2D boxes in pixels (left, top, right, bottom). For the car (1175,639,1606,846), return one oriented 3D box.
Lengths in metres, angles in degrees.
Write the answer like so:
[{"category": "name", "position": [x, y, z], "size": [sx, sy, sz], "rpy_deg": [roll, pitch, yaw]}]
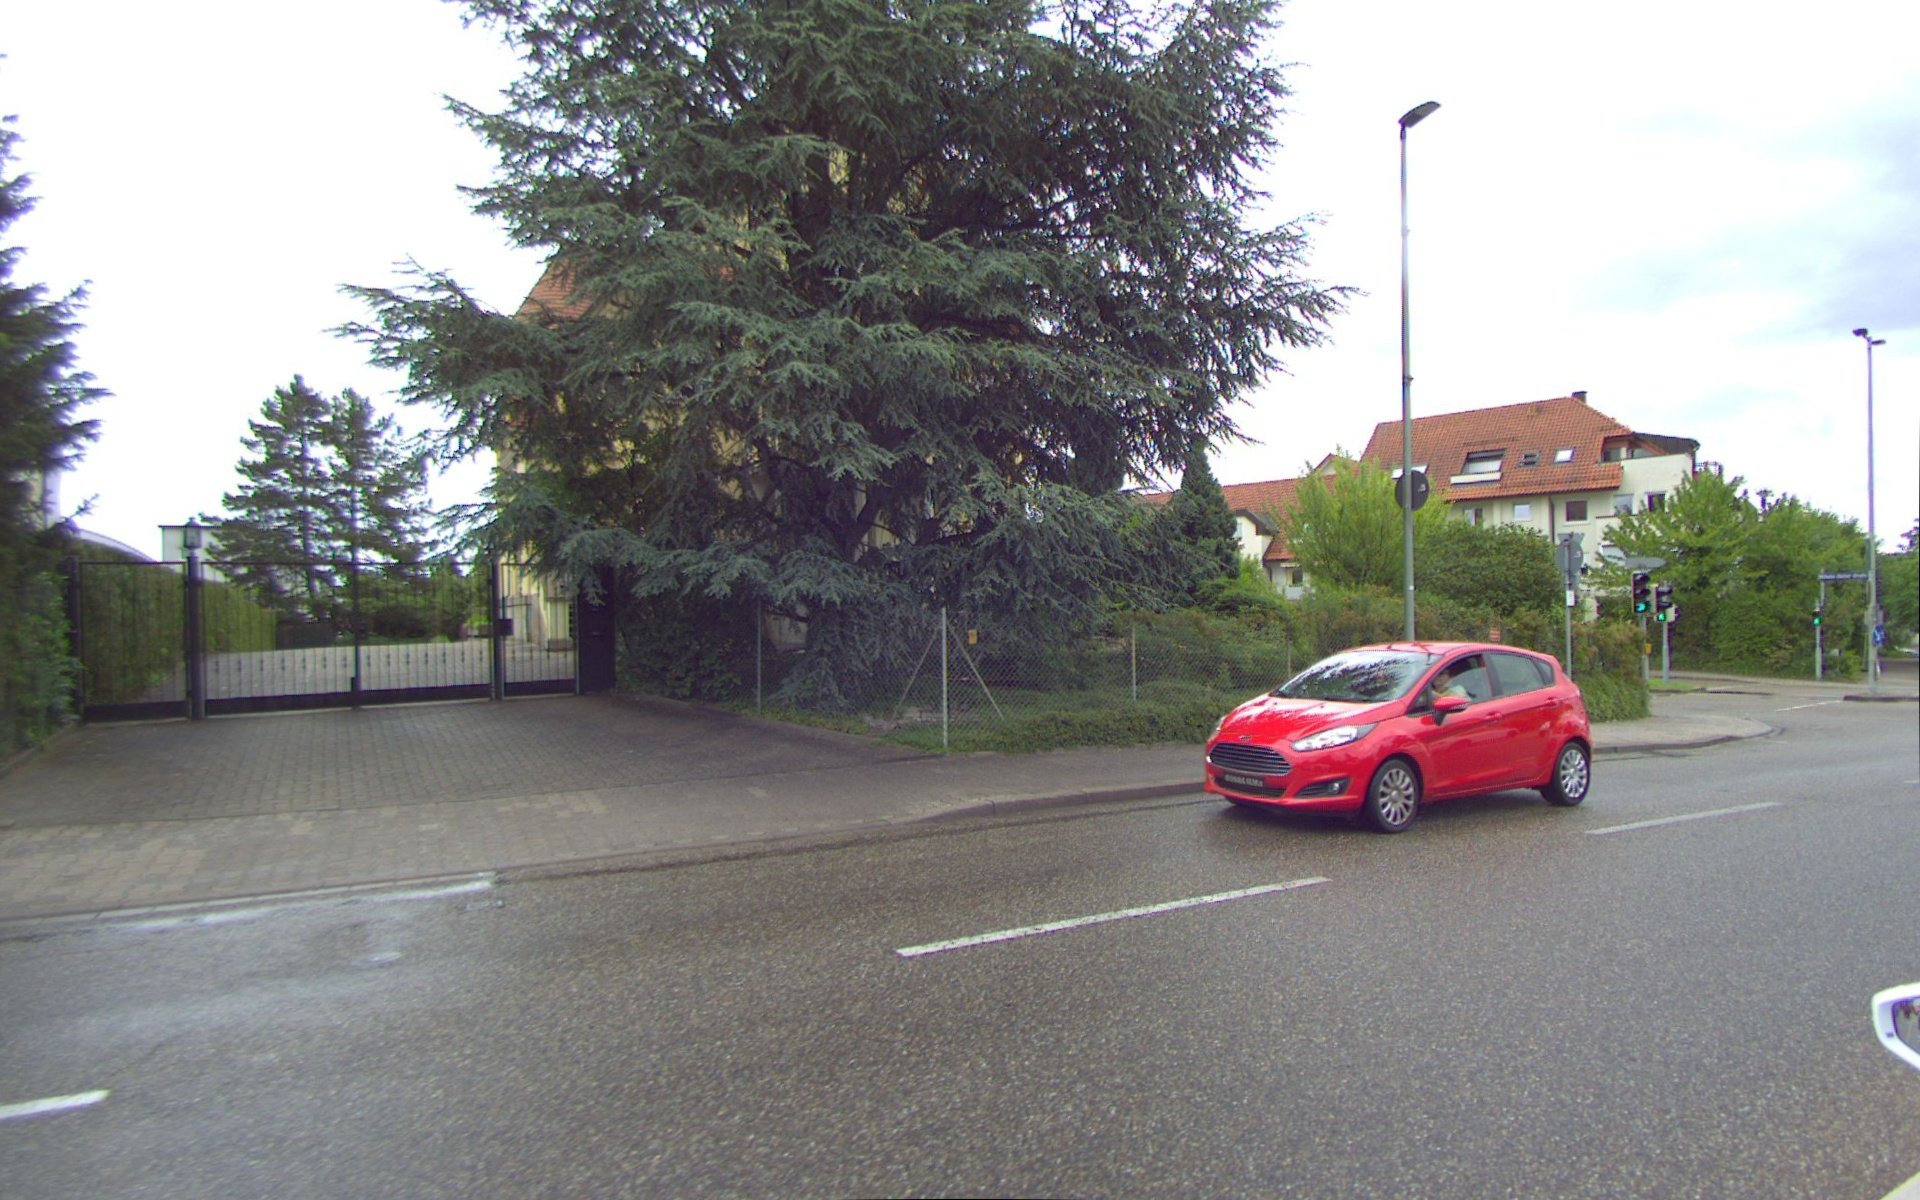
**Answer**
[{"category": "car", "position": [3.834, 1.096, 8.845], "size": [3.659, 1.475, 1.624], "rpy_deg": [1, -3, -30]}]
